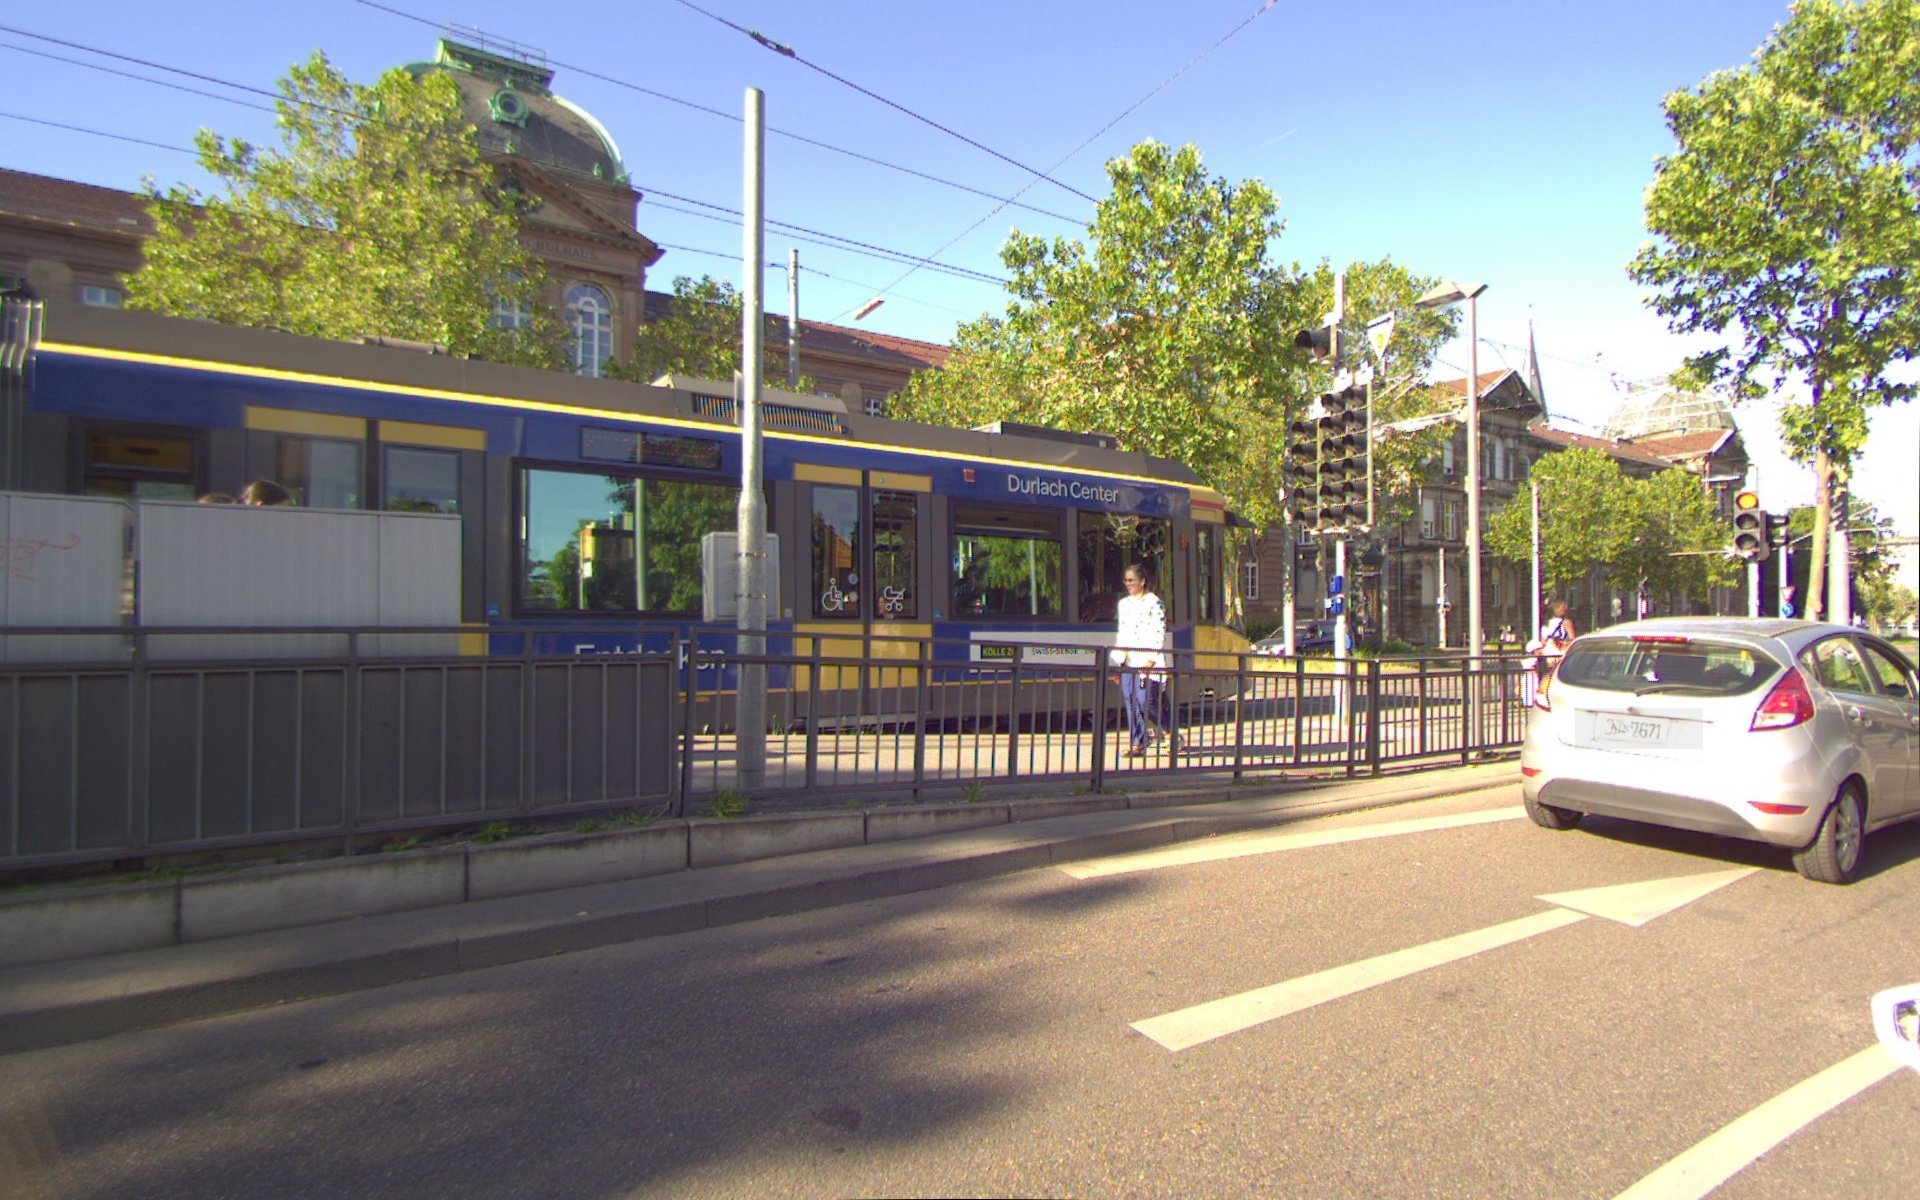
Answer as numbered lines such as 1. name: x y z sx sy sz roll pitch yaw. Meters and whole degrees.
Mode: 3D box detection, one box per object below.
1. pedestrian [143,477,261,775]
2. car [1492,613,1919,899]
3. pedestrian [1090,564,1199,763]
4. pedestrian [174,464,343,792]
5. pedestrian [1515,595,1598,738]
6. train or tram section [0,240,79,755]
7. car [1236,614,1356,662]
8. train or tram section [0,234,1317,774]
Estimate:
1. pedestrian: -4.683 0.159 6.221 0.541 1.724 0.604 1 -2 -37
2. car: 5.407 0.845 6.782 3.592 1.428 1.651 2 0 -33
3. pedestrian: 1.602 0.547 8.732 0.635 1.640 0.635 4 -3 -37
4. pedestrian: -4.020 0.159 5.764 0.740 1.724 0.628 1 -2 -38
5. pedestrian: 6.855 0.746 11.545 0.641 1.577 0.626 1 -1 -38
6. train or tram section: -13.215 -0.906 2.856 15.730 3.303 2.896 2 0 -34
7. car: 11.961 1.324 35.724 3.953 1.646 1.984 1 -1 -30
8. train or tram section: -1.453 -0.384 10.914 12.978 3.303 2.896 2 0 -34
